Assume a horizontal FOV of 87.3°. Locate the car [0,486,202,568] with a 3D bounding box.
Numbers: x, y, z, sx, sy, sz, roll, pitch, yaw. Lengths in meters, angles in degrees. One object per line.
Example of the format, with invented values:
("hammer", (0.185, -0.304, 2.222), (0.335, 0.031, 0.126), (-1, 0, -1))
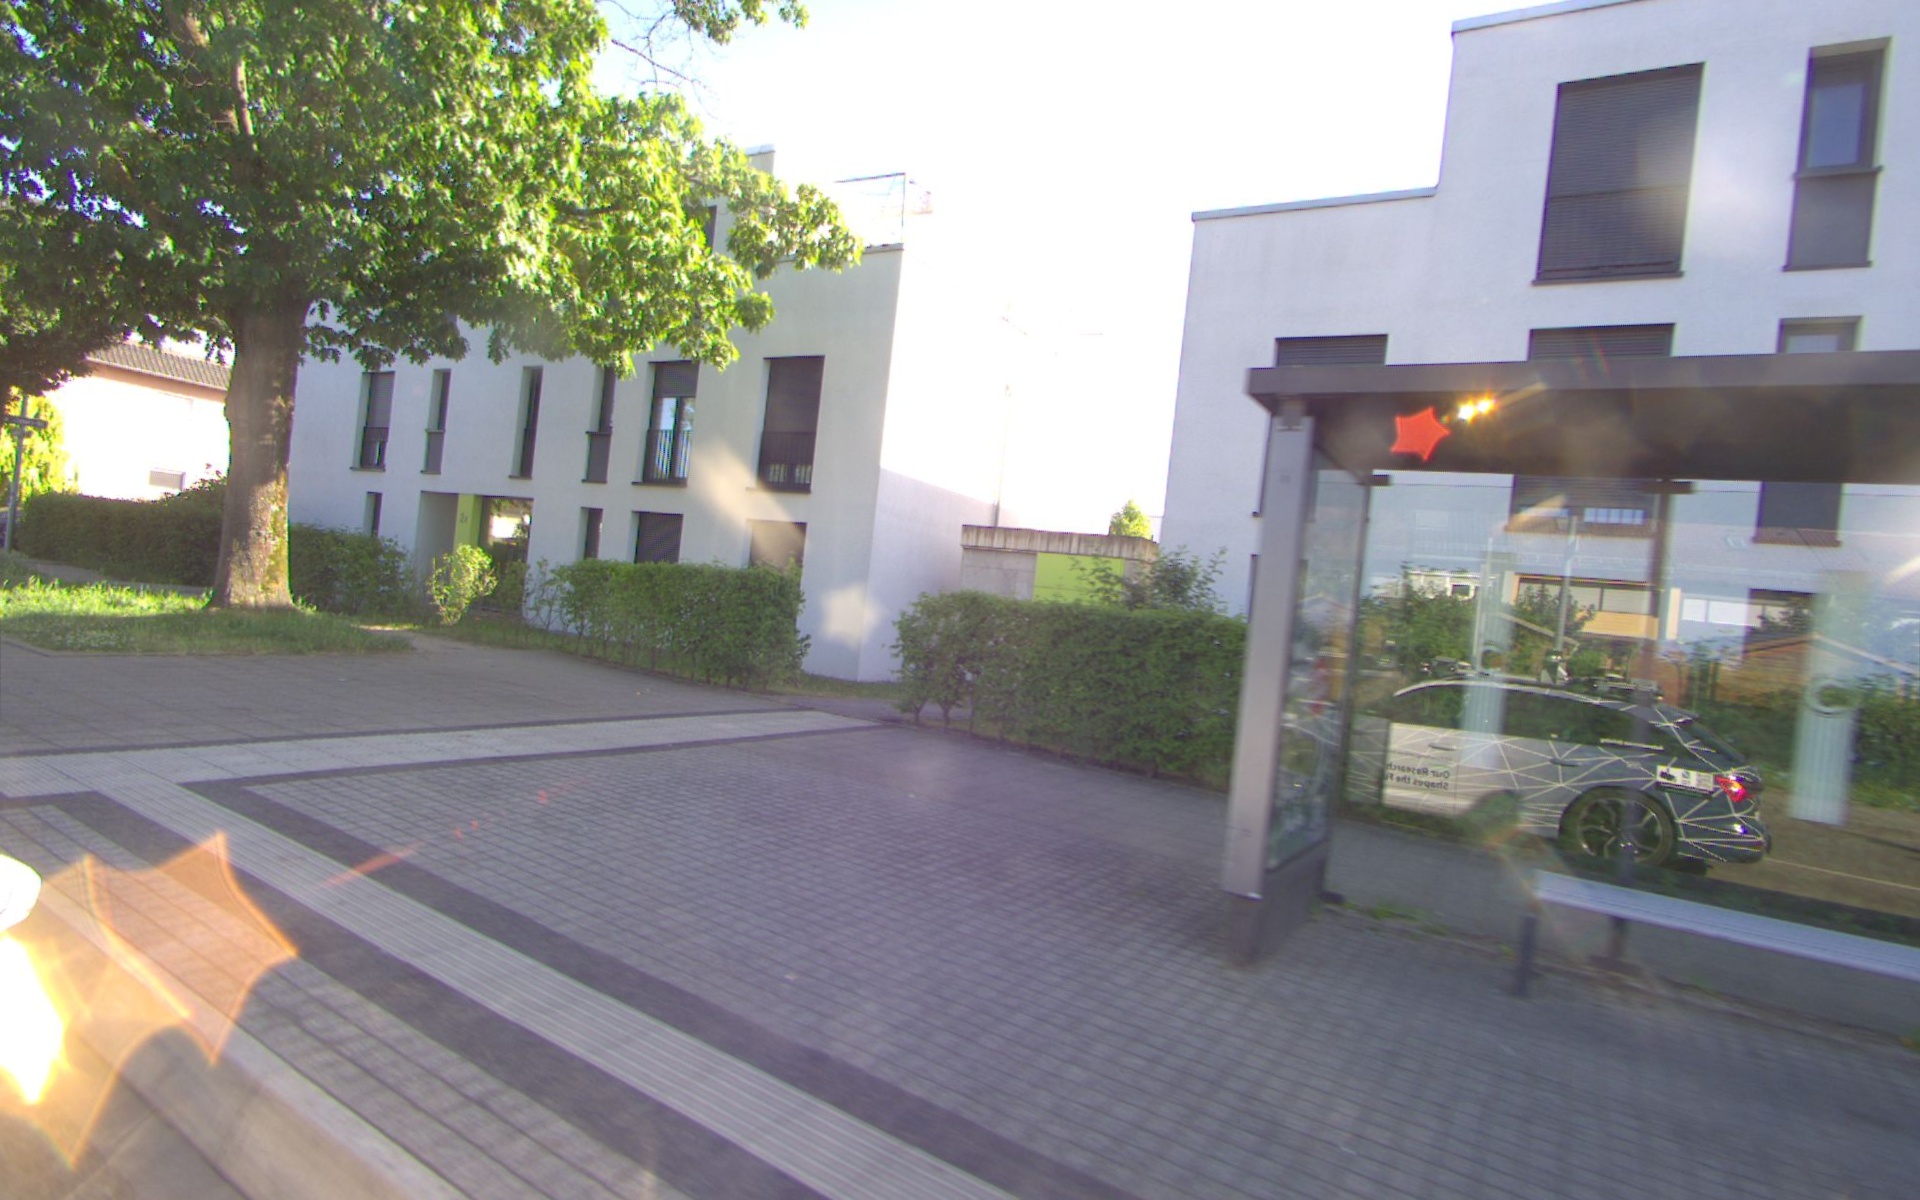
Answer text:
("car", (-27.077, -2.219, 31.199), (2.037, 1.869, 5.250), (5, -1, 29))
